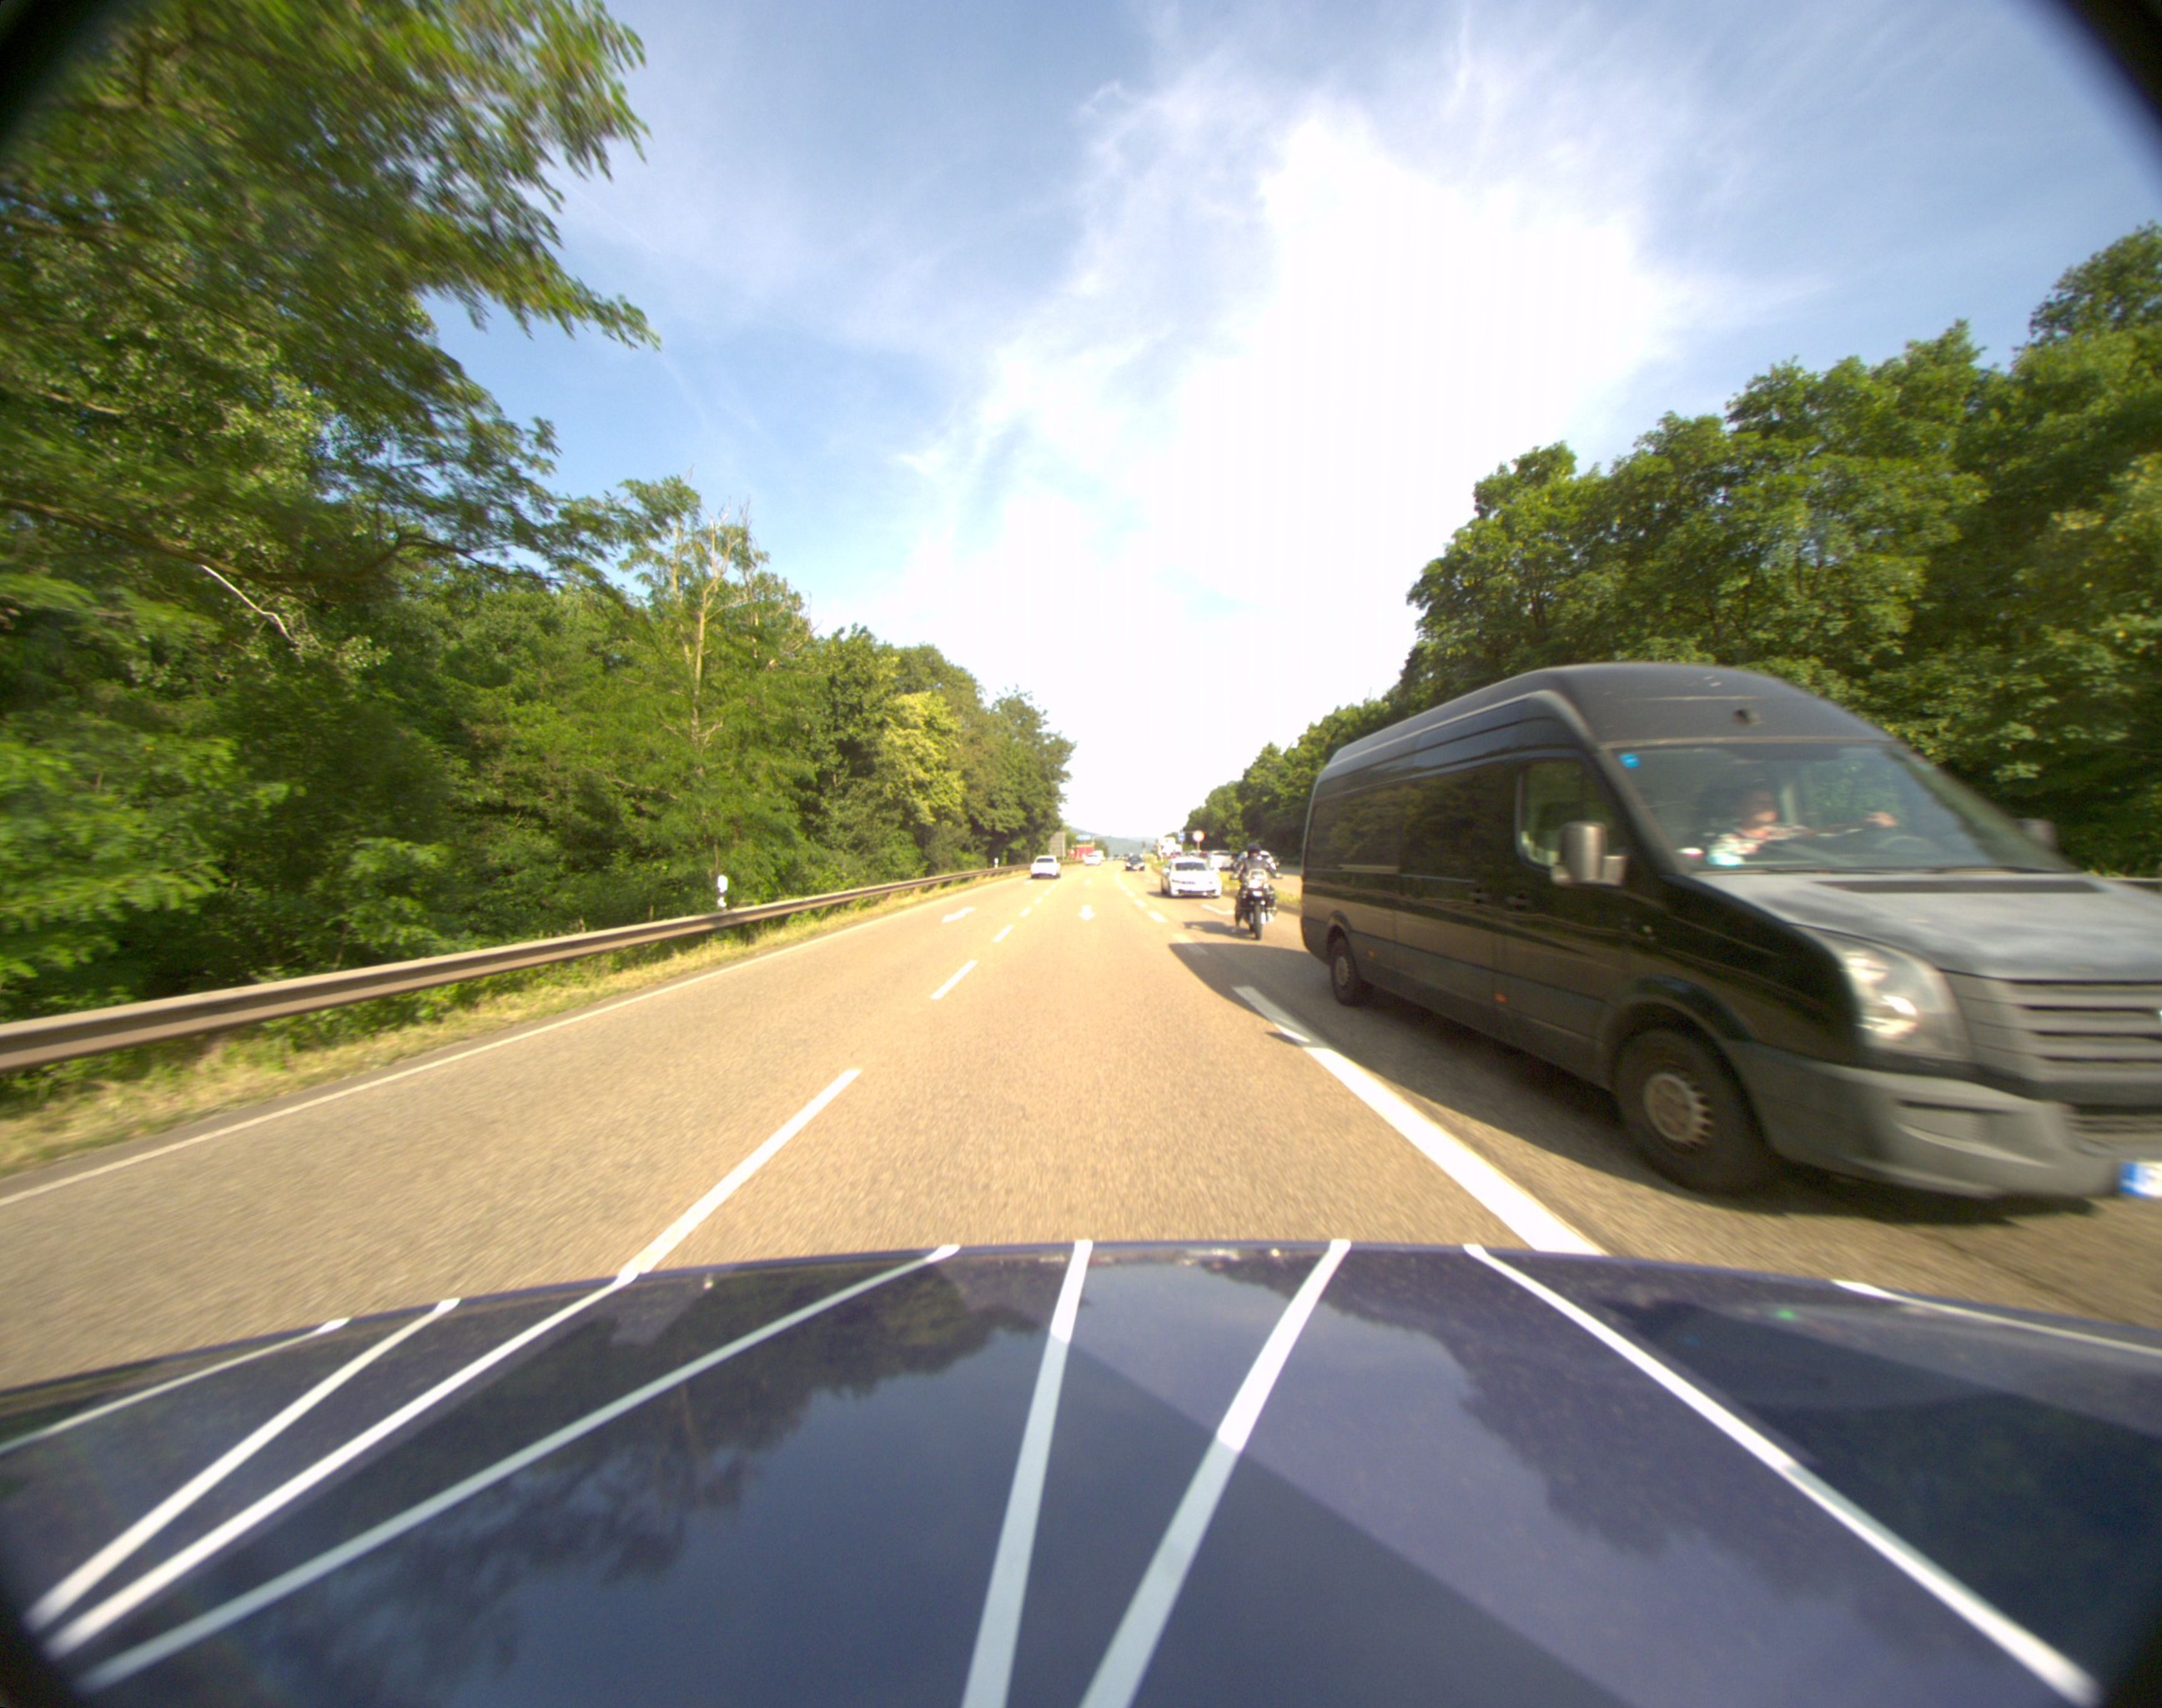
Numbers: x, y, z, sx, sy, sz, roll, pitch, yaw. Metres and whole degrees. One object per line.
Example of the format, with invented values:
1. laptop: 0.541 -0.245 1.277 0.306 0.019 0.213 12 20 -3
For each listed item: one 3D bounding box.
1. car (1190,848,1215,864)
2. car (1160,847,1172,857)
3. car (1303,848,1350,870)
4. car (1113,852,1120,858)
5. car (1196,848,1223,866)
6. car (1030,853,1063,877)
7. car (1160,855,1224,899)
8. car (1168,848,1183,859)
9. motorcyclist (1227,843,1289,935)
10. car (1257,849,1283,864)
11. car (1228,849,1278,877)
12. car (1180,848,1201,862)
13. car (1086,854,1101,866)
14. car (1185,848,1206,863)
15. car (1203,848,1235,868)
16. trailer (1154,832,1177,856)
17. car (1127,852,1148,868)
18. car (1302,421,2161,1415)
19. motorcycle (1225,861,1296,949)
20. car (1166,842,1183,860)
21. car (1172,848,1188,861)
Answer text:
1. car: 11.006 0.153 69.268 1.771 1.415 5.194 -1 0 4
2. car: 14.278 -0.277 127.237 1.704 1.622 4.371 -1 0 2
3. car: 17.301 0.342 53.798 1.792 1.398 4.754 -2 0 1
4. car: 9.627 0.300 205.723 1.498 1.346 3.554 -3 0 1
5. car: 10.552 0.215 62.636 1.771 1.409 4.435 -1 0 4
6. car: -2.339 0.736 53.048 1.874 1.625 4.834 -1 0 2
7. car: 4.138 0.801 29.006 1.874 1.512 4.834 0 0 2
8. car: 12.816 -0.052 103.600 1.764 1.448 5.187 -1 0 4
9. motorcyclist: 3.266 0.621 14.136 0.885 1.606 1.291 -3 0 6
10. car: 18.487 0.226 74.531 1.742 1.370 4.376 -1 0 4
11. car: 9.290 0.452 41.439 1.792 1.403 4.227 1 0 1
12. car: 11.703 0.143 81.524 1.775 1.415 5.194 -1 0 4
13. car: 1.793 0.838 109.031 1.998 1.632 4.000 -3 0 1
14. car: 11.224 0.153 74.538 1.710 1.415 4.212 -1 0 4
15. car: 10.297 0.258 56.815 1.872 1.409 4.417 -1 0 4
16. trailer: 15.242 -1.656 137.555 2.998 3.972 14.016 -3 0 3
17. car: 5.575 0.607 75.124 1.861 1.452 4.570 -3 0 3
18. car: 3.583 0.191 5.677 2.215 2.871 7.013 -1 0 4
19. motorcycle: 3.269 0.870 14.141 0.910 1.445 2.690 1 0 6
20. car: 13.728 -0.387 111.926 2.079 2.519 6.165 -1 0 4
21. car: 12.560 0.062 96.802 1.775 1.659 4.801 -1 0 4
